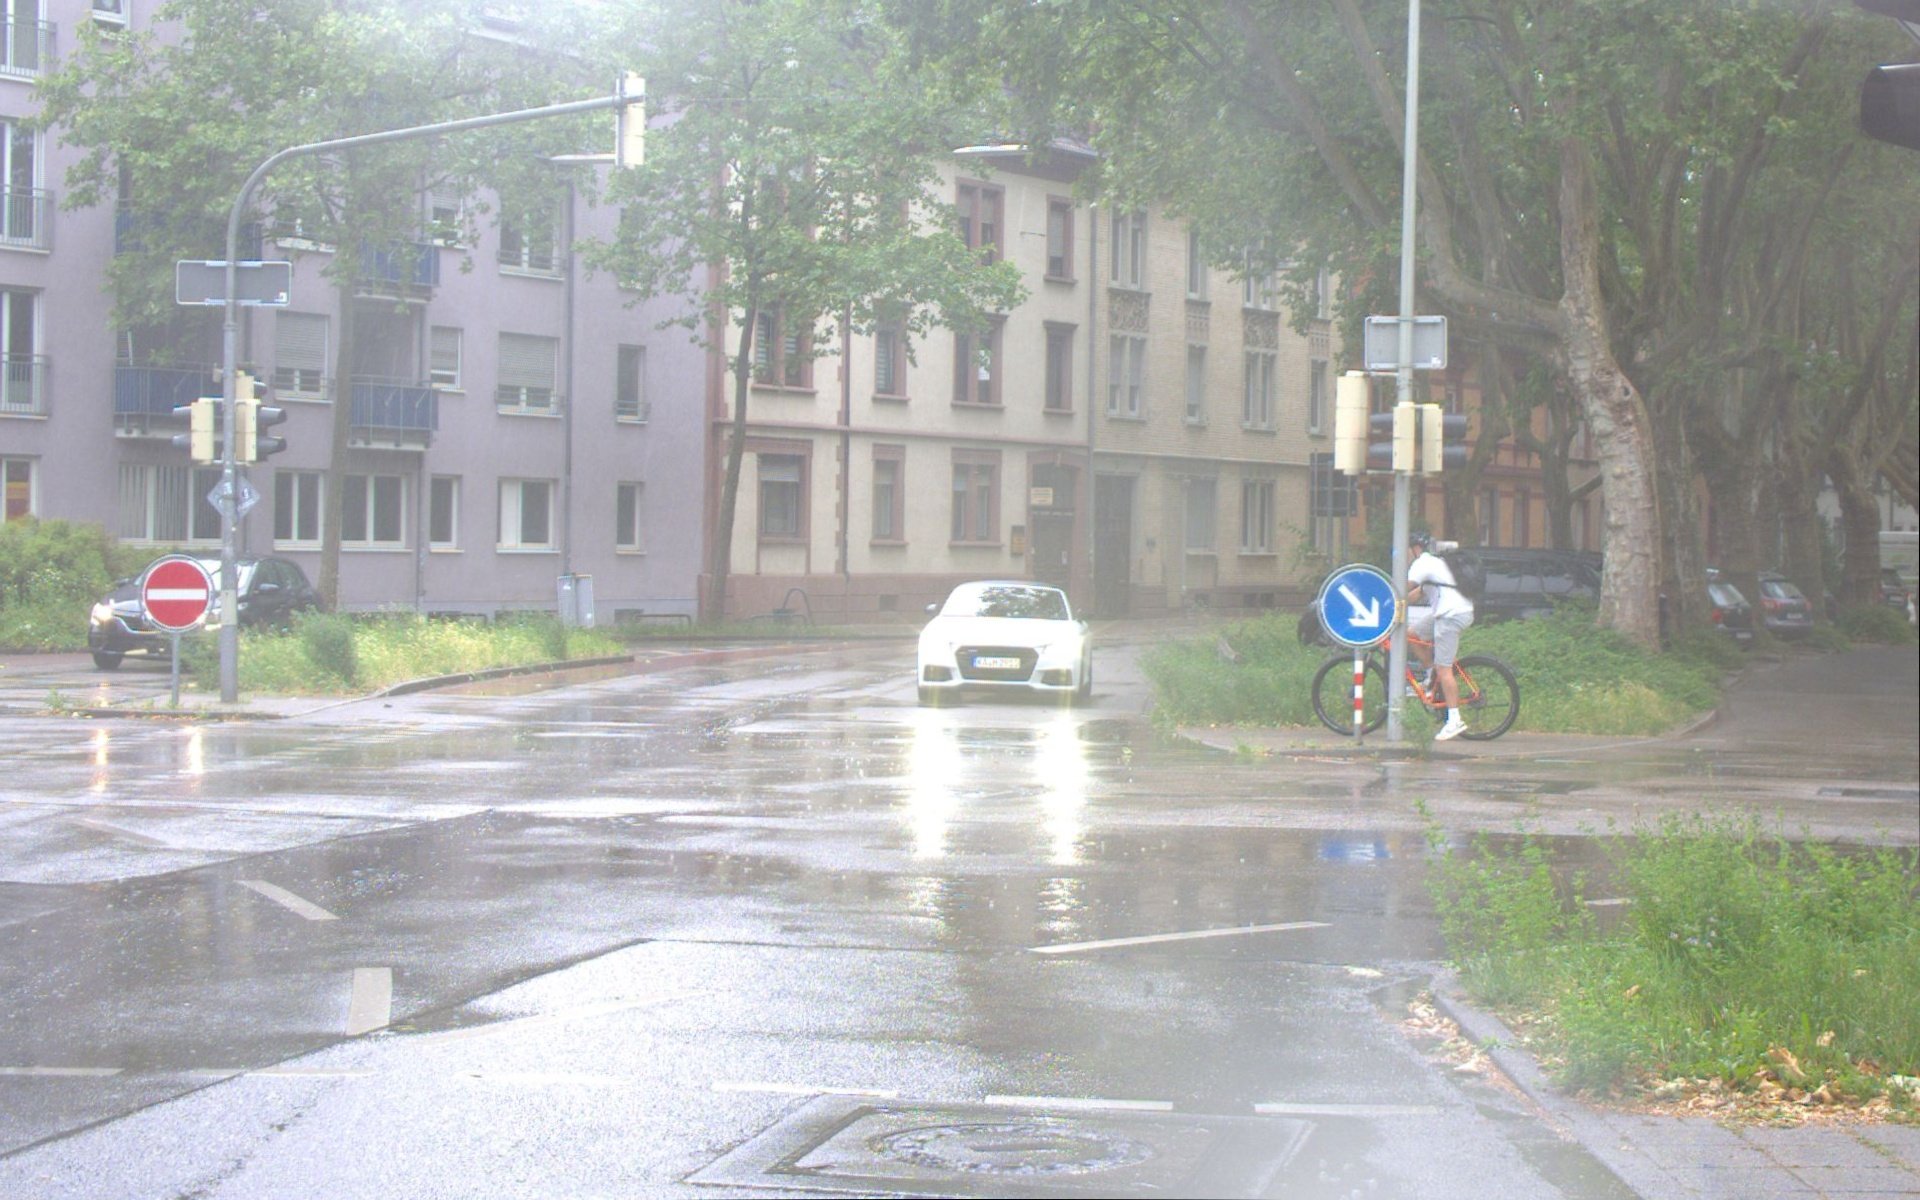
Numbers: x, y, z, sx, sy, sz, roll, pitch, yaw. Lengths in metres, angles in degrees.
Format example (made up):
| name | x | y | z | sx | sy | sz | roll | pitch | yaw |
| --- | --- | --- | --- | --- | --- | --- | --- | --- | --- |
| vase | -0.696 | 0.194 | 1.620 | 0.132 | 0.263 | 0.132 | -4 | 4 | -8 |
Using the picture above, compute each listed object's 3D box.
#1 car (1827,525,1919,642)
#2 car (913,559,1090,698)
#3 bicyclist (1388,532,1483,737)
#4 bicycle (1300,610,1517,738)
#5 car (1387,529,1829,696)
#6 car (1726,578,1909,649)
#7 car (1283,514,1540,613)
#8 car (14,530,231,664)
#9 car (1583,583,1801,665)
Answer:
| name | x | y | z | sx | sy | sz | roll | pitch | yaw |
| --- | --- | --- | --- | --- | --- | --- | --- | --- | --- |
| car | 24.395 | -0.420 | 87.721 | 2.033 | 2.938 | 4.773 | 1 | 1 | -21 |
| car | 0.495 | 0.281 | 39.103 | 1.884 | 1.431 | 4.000 | 1 | 1 | 1 |
| bicyclist | 4.198 | 0.295 | 30.369 | 0.795 | 1.780 | 0.697 | 1 | 0 | 8 |
| bicycle | 3.963 | 0.643 | 30.401 | 1.873 | 1.077 | 0.657 | 1 | 0 | 8 |
| car | 6.170 | 0.100 | 32.709 | 3.989 | 1.481 | 1.999 | 1 | 1 | 12 |
| car | 19.575 | 0.302 | 78.660 | 3.989 | 1.542 | 1.999 | 1 | 1 | 12 |
| car | 7.137 | -0.578 | 54.190 | 3.868 | 1.481 | 1.715 | 1 | 0 | 12 |
| car | -10.045 | -0.069 | 41.503 | 1.751 | 1.506 | 3.839 | 1 | 1 | -2 |
| car | 13.929 | 0.439 | 65.445 | 3.989 | 1.481 | 1.999 | 1 | 1 | 12 |
